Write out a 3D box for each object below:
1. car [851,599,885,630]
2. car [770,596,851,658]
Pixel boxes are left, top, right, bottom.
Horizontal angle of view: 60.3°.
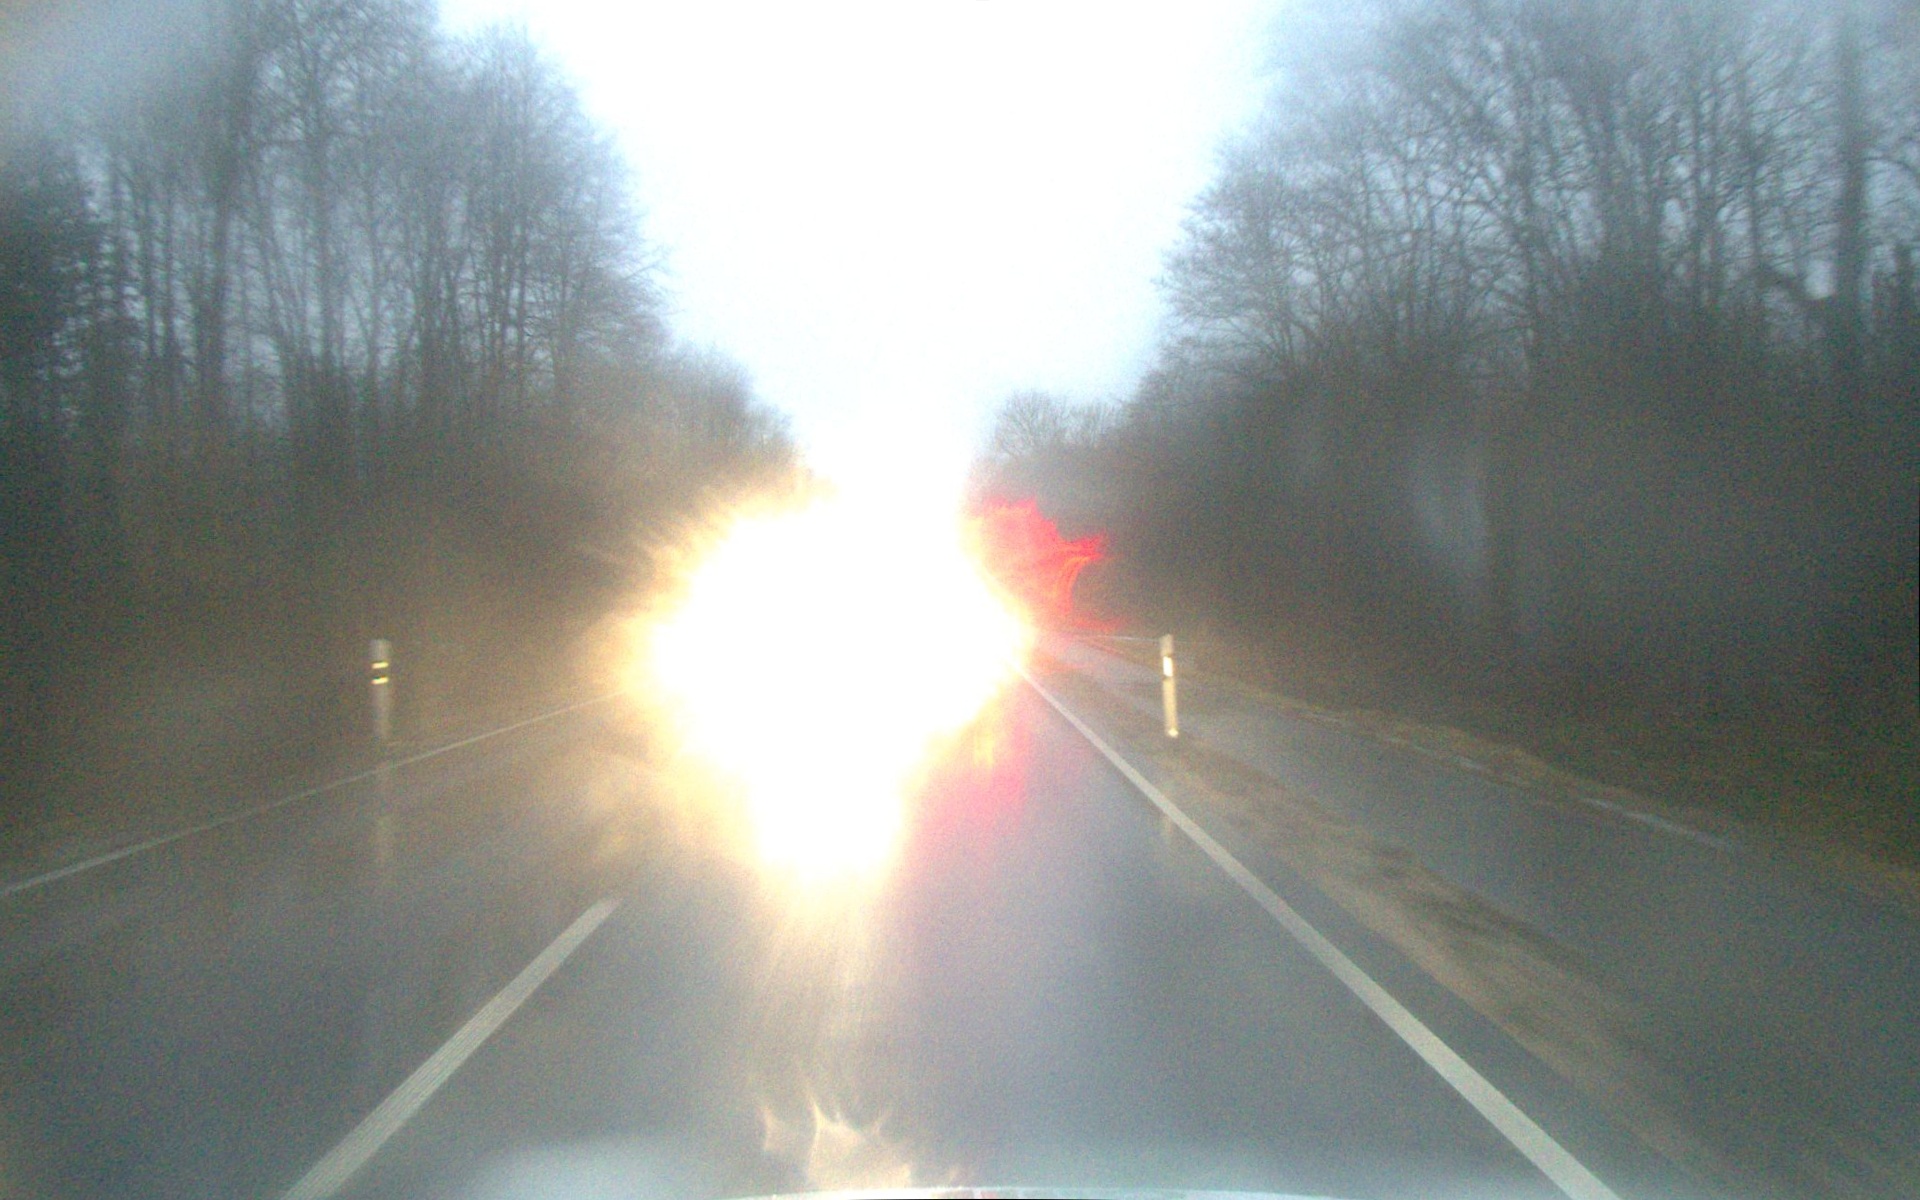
[{"bbox_3d":[-5.008,0.759,90.478,1.706,1.664,3.999,0,0,-1],"label":"car"},{"bbox_3d":[-3.863,0.672,43.375,1.729,1.483,4.507,-2,0,-1],"label":"car"}]
